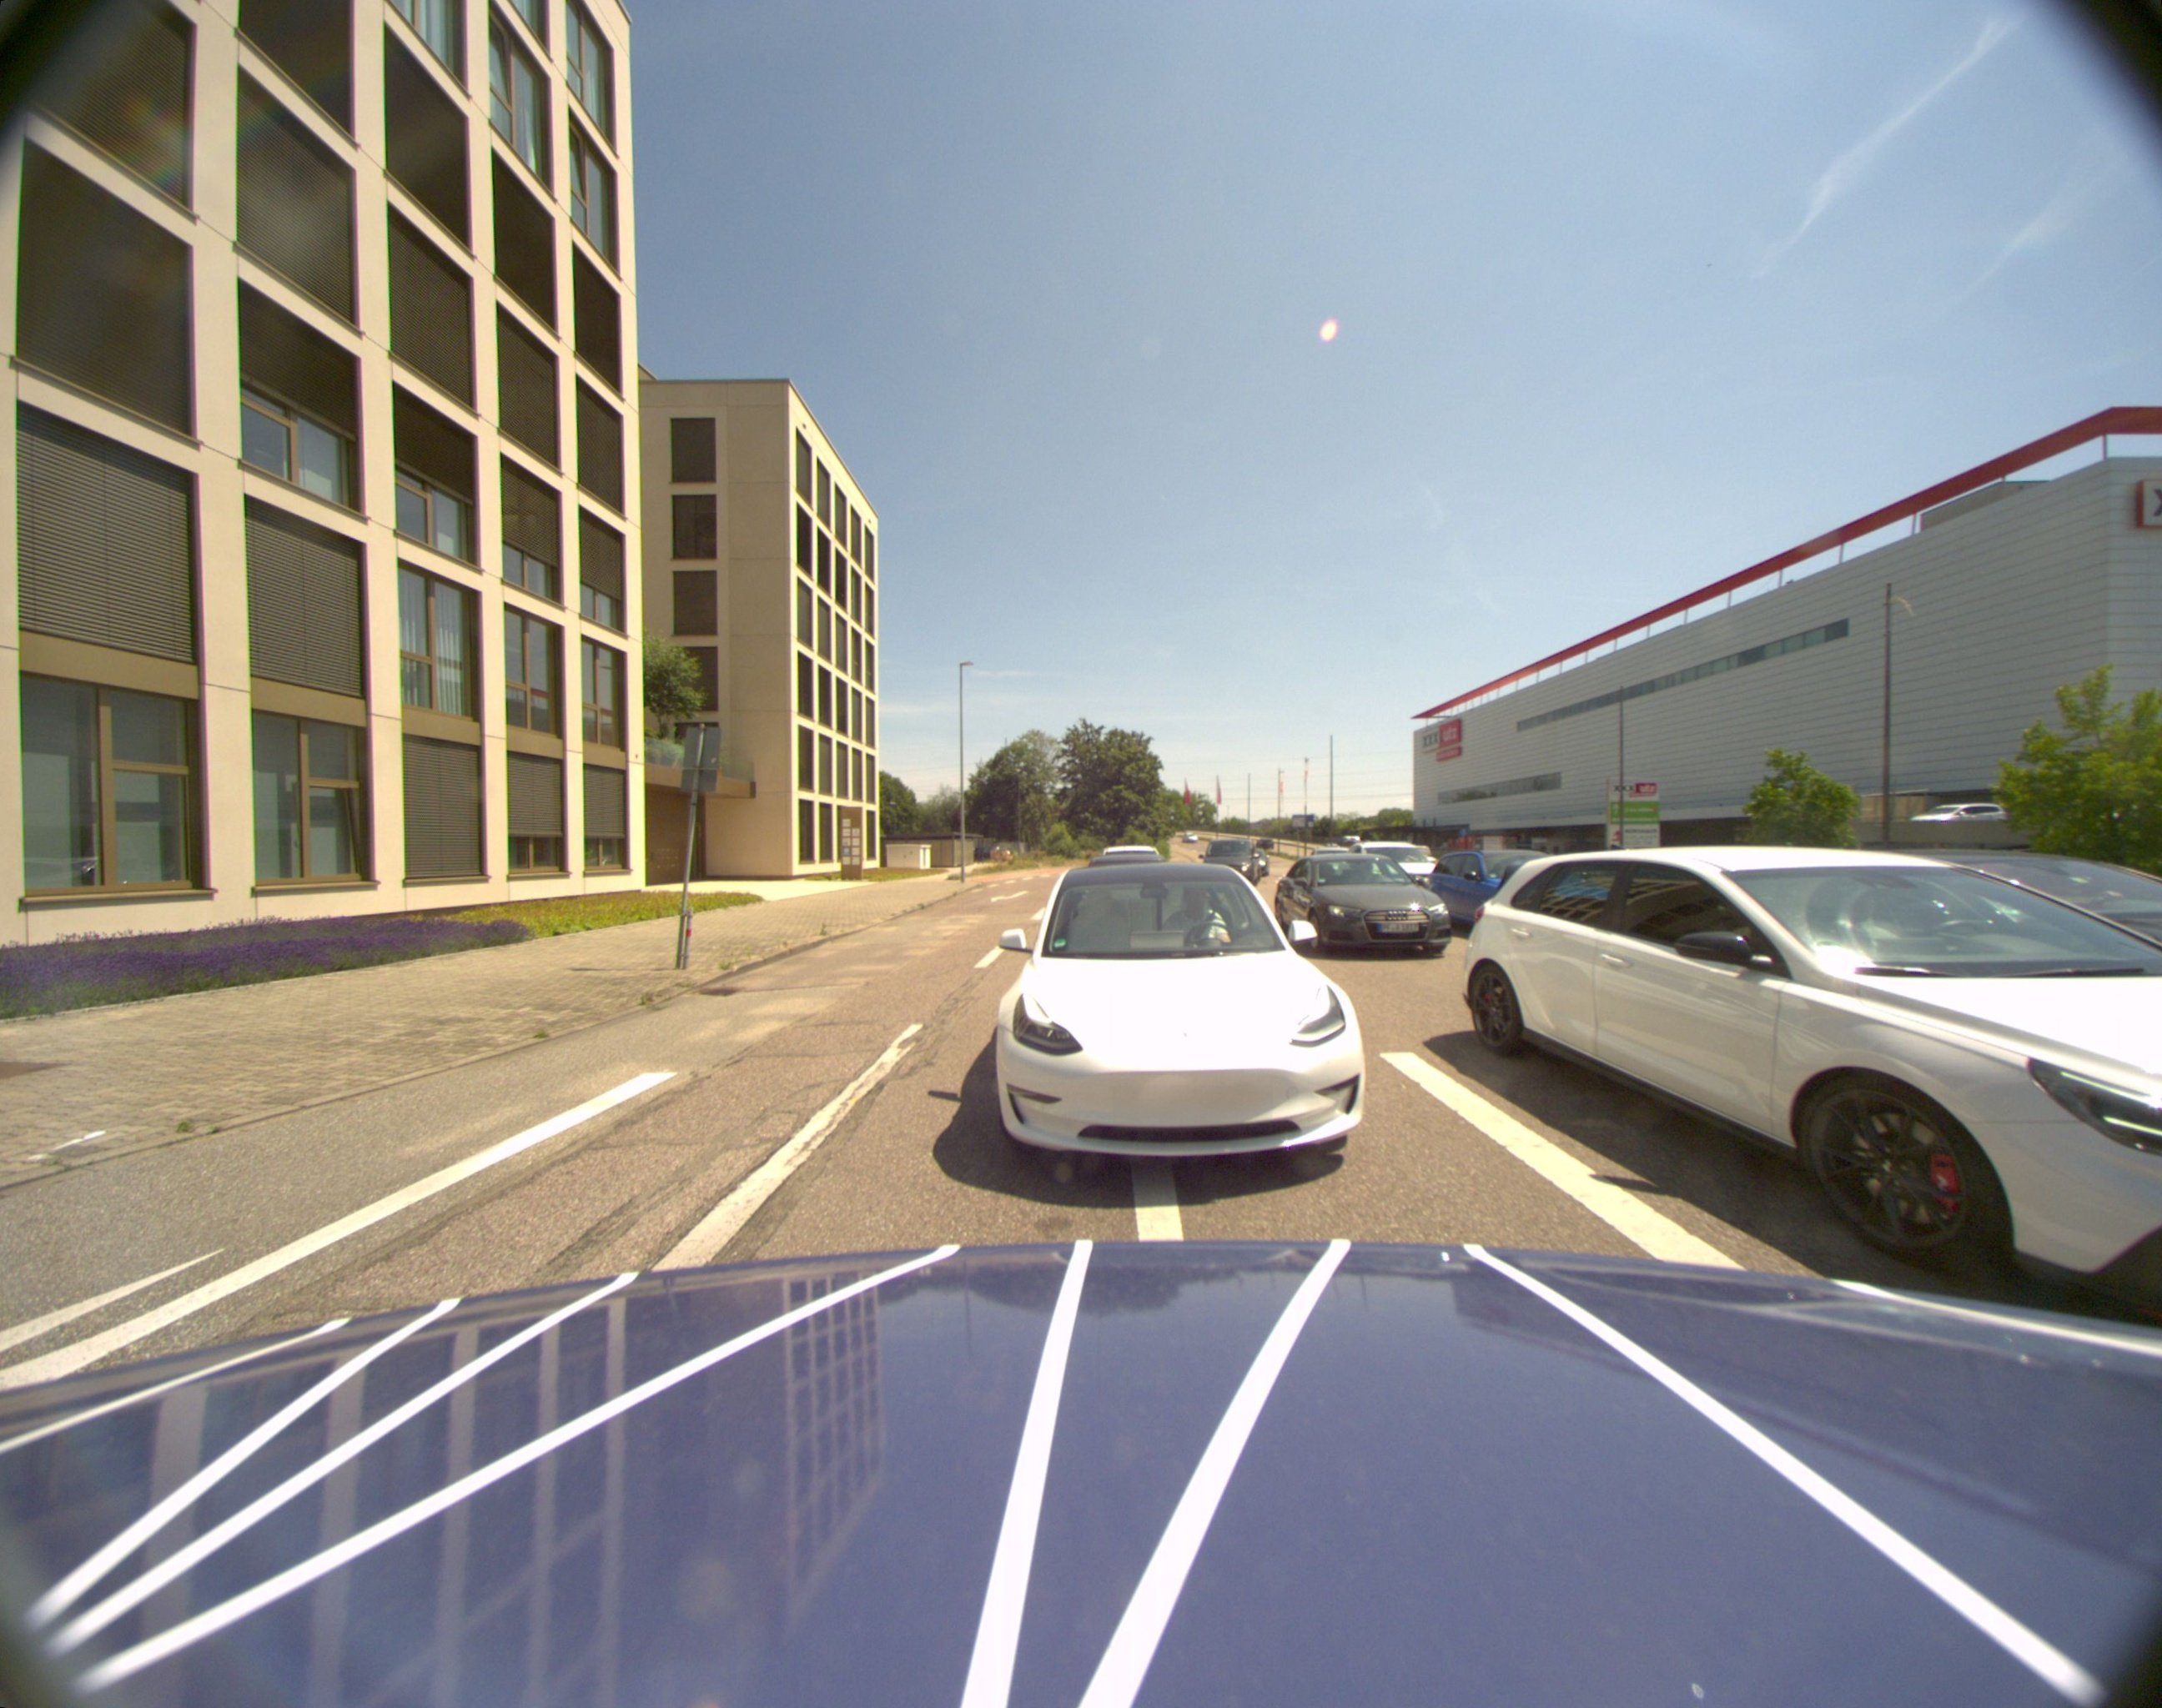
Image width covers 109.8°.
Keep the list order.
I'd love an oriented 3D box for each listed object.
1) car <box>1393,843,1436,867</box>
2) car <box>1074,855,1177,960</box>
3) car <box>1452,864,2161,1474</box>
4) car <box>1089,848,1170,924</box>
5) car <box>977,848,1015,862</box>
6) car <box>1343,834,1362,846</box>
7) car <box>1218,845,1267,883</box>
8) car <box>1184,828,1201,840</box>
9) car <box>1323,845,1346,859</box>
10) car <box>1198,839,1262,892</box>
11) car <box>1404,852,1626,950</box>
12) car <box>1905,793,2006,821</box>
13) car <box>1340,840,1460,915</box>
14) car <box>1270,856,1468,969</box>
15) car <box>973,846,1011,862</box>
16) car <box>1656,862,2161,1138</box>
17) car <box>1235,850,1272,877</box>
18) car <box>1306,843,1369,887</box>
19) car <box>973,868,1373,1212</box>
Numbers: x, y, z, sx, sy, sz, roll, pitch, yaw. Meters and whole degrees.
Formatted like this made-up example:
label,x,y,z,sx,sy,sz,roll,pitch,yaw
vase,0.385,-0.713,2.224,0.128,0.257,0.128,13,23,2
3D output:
label,x,y,z,sx,sy,sz,roll,pitch,yaw
car,24.965,0.027,56.944,1.865,1.713,4.045,0,1,7
car,0.823,0.808,13.362,1.556,1.528,3.822,0,1,5
car,3.672,0.836,3.668,1.792,1.428,4.070,-2,1,1
car,1.211,0.691,18.606,1.777,1.600,3.821,0,1,5
car,-9.075,0.095,81.226,3.834,1.386,1.736,0,1,-13
car,52.161,-2.658,146.282,2.191,2.270,4.814,0,1,4
car,7.511,0.427,35.064,1.811,1.630,4.005,0,1,18
car,19.349,-3.504,132.081,2.000,1.893,3.997,-2,1,-7
car,32.020,-0.189,96.038,1.866,1.713,4.045,0,0,6
car,5.705,0.361,28.639,1.893,1.811,4.842,0,1,17
car,7.321,0.698,13.398,1.768,1.395,4.433,-2,0,7
car,51.714,-2.766,44.991,3.997,1.499,1.717,0,1,0
car,7.958,0.512,19.367,1.768,1.632,4.494,-2,1,9
car,4.173,0.754,11.720,1.769,1.374,4.091,-1,0,5
car,-9.273,-0.016,79.173,3.834,1.543,1.736,0,1,-13
car,6.626,0.796,5.468,1.675,1.396,4.467,-2,0,2
car,9.853,0.498,43.213,1.606,1.431,3.738,0,1,19
car,9.123,0.366,27.265,1.767,1.414,3.903,-2,0,14
car,0.462,0.917,5.710,1.823,1.428,4.284,-2,1,1
